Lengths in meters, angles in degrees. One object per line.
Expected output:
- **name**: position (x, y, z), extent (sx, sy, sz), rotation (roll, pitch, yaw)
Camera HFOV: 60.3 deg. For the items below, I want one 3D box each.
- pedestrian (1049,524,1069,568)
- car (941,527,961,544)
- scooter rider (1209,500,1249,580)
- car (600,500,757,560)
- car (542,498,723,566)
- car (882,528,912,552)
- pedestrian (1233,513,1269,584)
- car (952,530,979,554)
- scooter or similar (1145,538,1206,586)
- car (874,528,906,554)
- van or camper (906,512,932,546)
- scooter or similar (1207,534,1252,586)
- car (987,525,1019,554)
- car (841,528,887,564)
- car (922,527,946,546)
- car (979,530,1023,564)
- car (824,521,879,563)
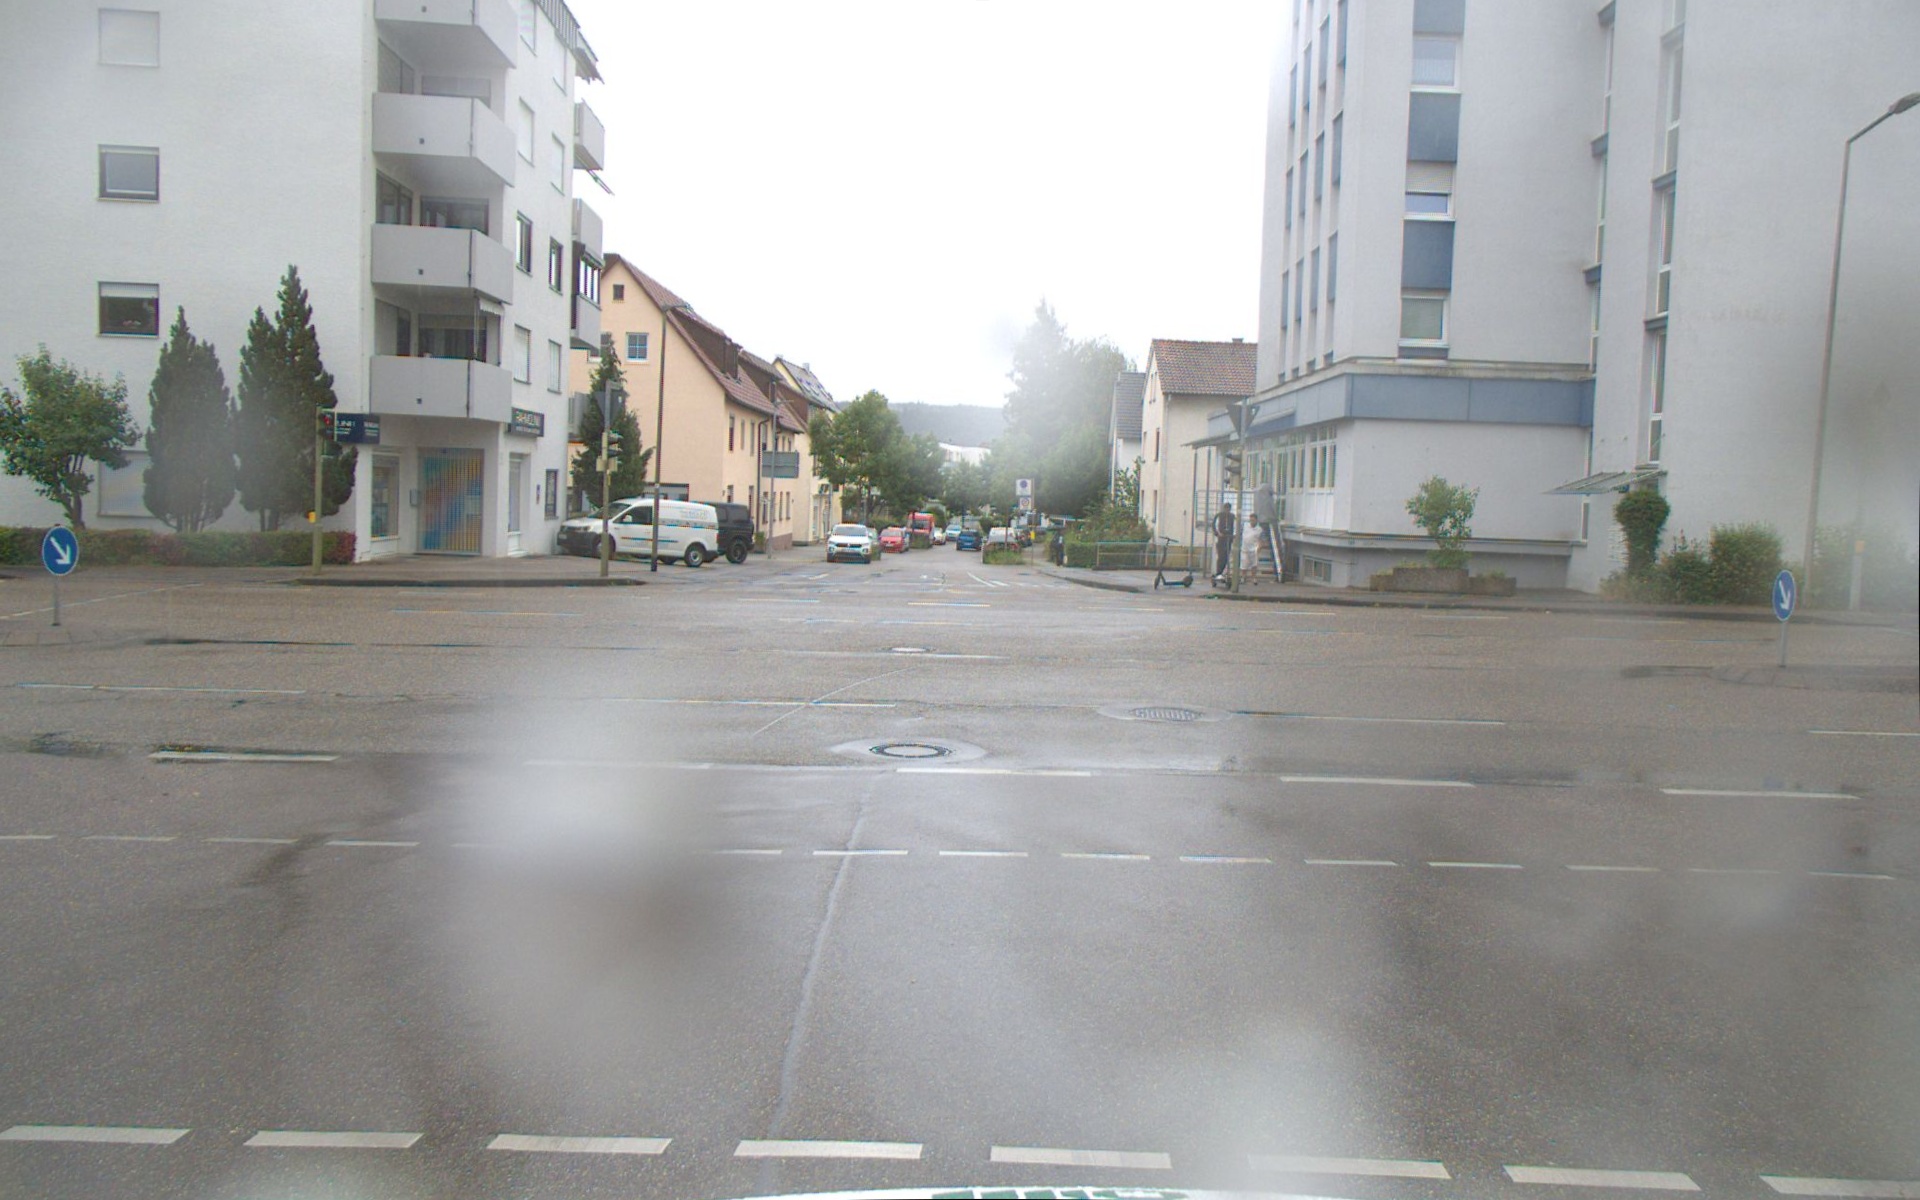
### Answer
- **pedestrian**: position (4.384, -2.388, 73.197), extent (0.730, 1.880, 0.526), rotation (4, 1, -1)
- **car**: position (-0.826, -6.023, 154.793), extent (1.862, 1.586, 4.192), rotation (1, 2, 0)
- **scooter rider**: position (6.219, -1.380, 38.237), extent (0.737, 1.827, 0.672), rotation (0, 2, -6)
- **car**: position (-9.272, -2.286, 54.641), extent (4.796, 1.867, 1.972), rotation (-1, 2, -39)
- **car**: position (-9.379, -1.931, 47.570), extent (4.796, 1.867, 1.972), rotation (-1, 2, -39)
- **car**: position (-4.251, -4.118, 112.940), extent (1.862, 1.586, 4.192), rotation (1, 2, 0)
- **pedestrian**: position (7.015, -1.239, 39.896), extent (0.635, 1.675, 0.525), rotation (4, 1, -7)
- **car**: position (0.378, -4.300, 122.365), extent (1.953, 1.713, 4.001), rotation (1, 2, 0)
- **scooter or similar**: position (5.058, -0.902, 38.873), extent (1.243, 1.100, 0.876), rotation (0, 2, -5)
- **car**: position (-4.405, -3.706, 104.534), extent (1.862, 1.586, 4.192), rotation (1, 2, 0)
- **van or camper**: position (-3.170, -5.422, 127.122), extent (1.862, 2.557, 4.239), rotation (0, 2, 0)
- **scooter or similar**: position (6.222, -0.931, 38.242), extent (0.742, 1.192, 1.313), rotation (0, 2, -4)
- **car**: position (2.680, -3.804, 103.804), extent (1.862, 1.775, 4.192), rotation (1, 2, 0)
- **car**: position (-4.600, -2.593, 79.486), extent (1.953, 1.654, 4.192), rotation (1, 2, 0)
- **car**: position (-2.164, -5.323, 138.784), extent (1.862, 1.586, 4.192), rotation (1, 2, 0)
- **car**: position (1.993, -2.612, 81.764), extent (2.102, 1.616, 4.129), rotation (1, 2, 0)
- **car**: position (-4.448, -2.367, 68.084), extent (1.953, 1.654, 4.192), rotation (1, 2, 0)
